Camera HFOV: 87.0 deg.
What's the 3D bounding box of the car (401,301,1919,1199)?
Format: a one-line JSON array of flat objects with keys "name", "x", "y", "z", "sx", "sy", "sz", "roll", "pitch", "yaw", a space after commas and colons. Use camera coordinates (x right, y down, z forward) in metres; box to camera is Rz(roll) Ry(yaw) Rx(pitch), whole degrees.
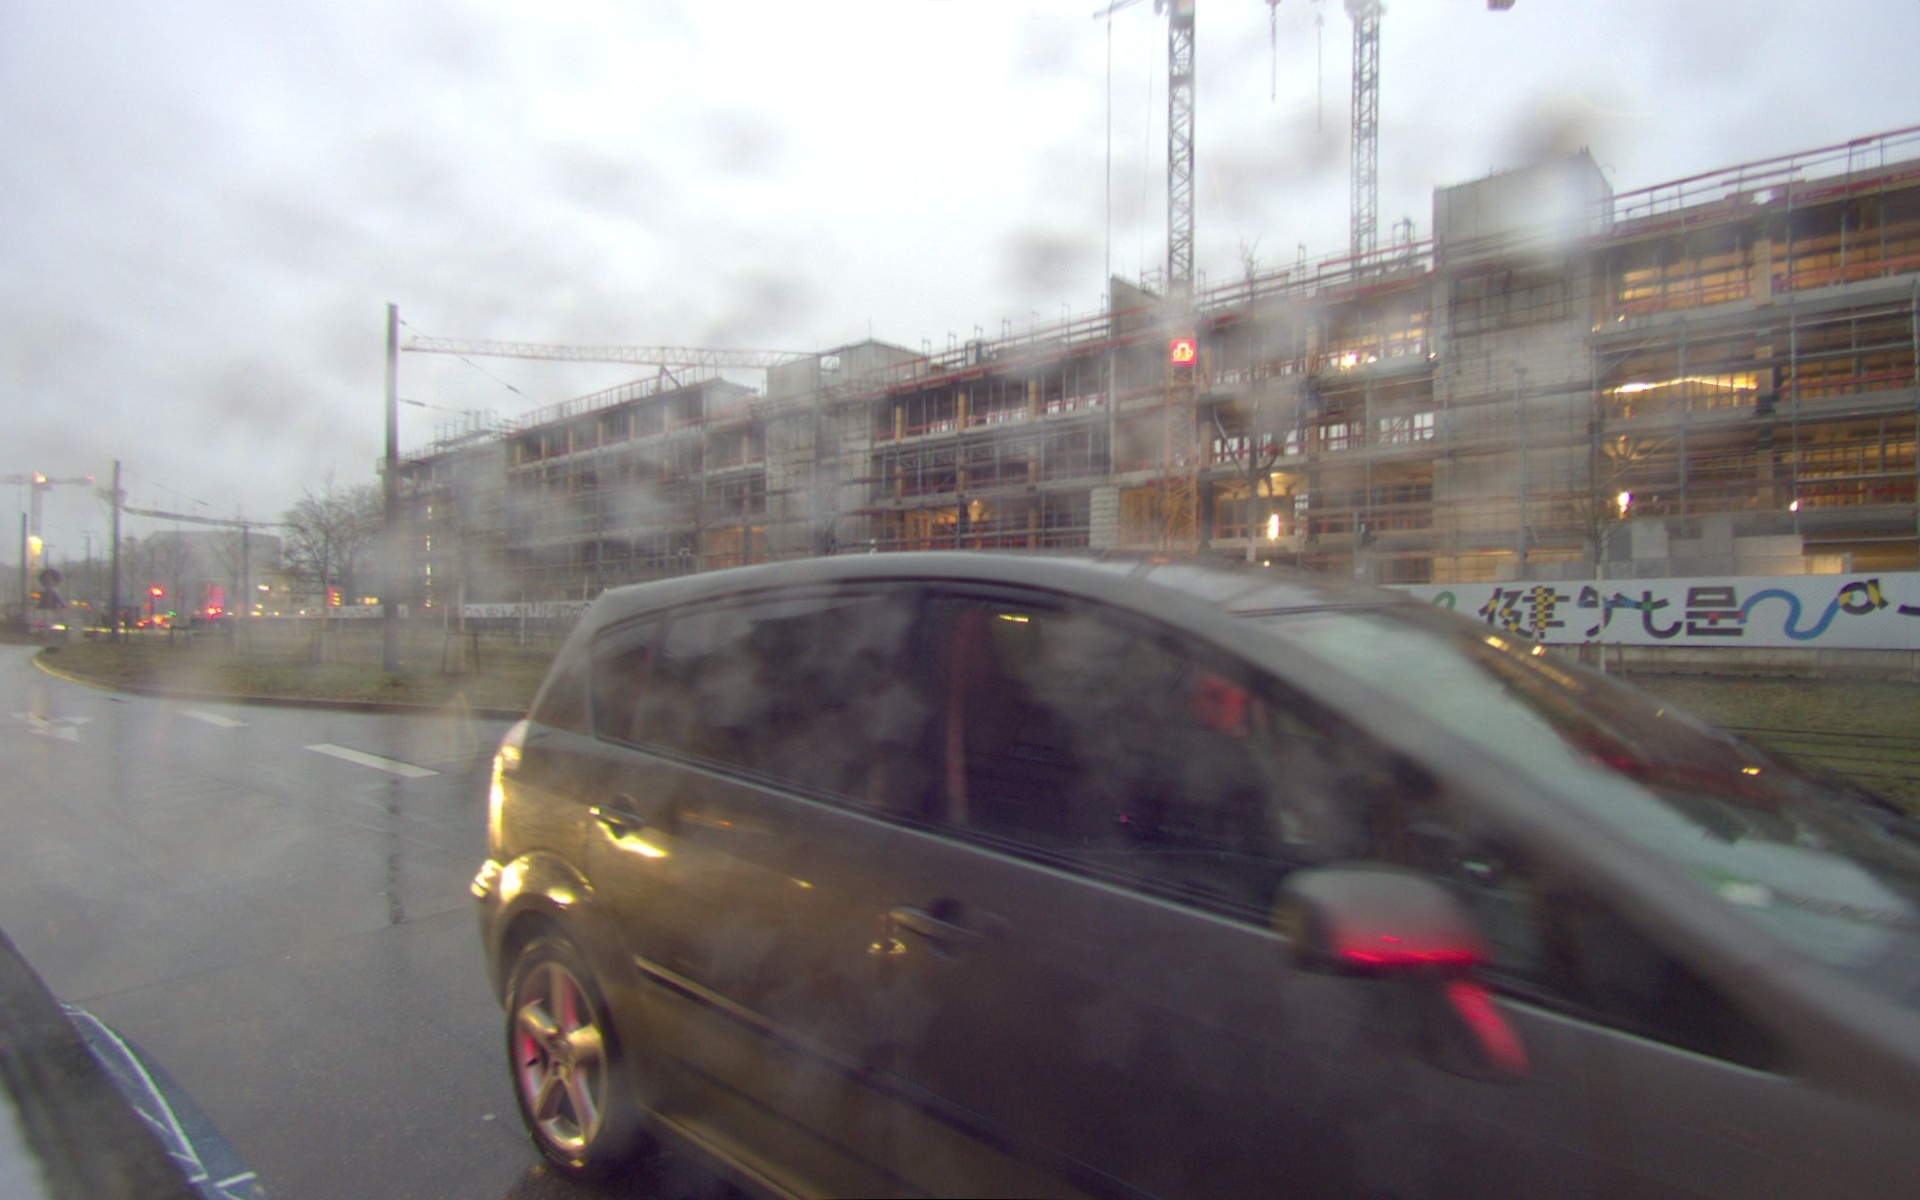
[{"name": "car", "x": 0.574, "y": 0.590, "z": 2.246, "sx": 4.131, "sy": 1.659, "sz": 1.793, "roll": -1, "pitch": -1, "yaw": 39}]
